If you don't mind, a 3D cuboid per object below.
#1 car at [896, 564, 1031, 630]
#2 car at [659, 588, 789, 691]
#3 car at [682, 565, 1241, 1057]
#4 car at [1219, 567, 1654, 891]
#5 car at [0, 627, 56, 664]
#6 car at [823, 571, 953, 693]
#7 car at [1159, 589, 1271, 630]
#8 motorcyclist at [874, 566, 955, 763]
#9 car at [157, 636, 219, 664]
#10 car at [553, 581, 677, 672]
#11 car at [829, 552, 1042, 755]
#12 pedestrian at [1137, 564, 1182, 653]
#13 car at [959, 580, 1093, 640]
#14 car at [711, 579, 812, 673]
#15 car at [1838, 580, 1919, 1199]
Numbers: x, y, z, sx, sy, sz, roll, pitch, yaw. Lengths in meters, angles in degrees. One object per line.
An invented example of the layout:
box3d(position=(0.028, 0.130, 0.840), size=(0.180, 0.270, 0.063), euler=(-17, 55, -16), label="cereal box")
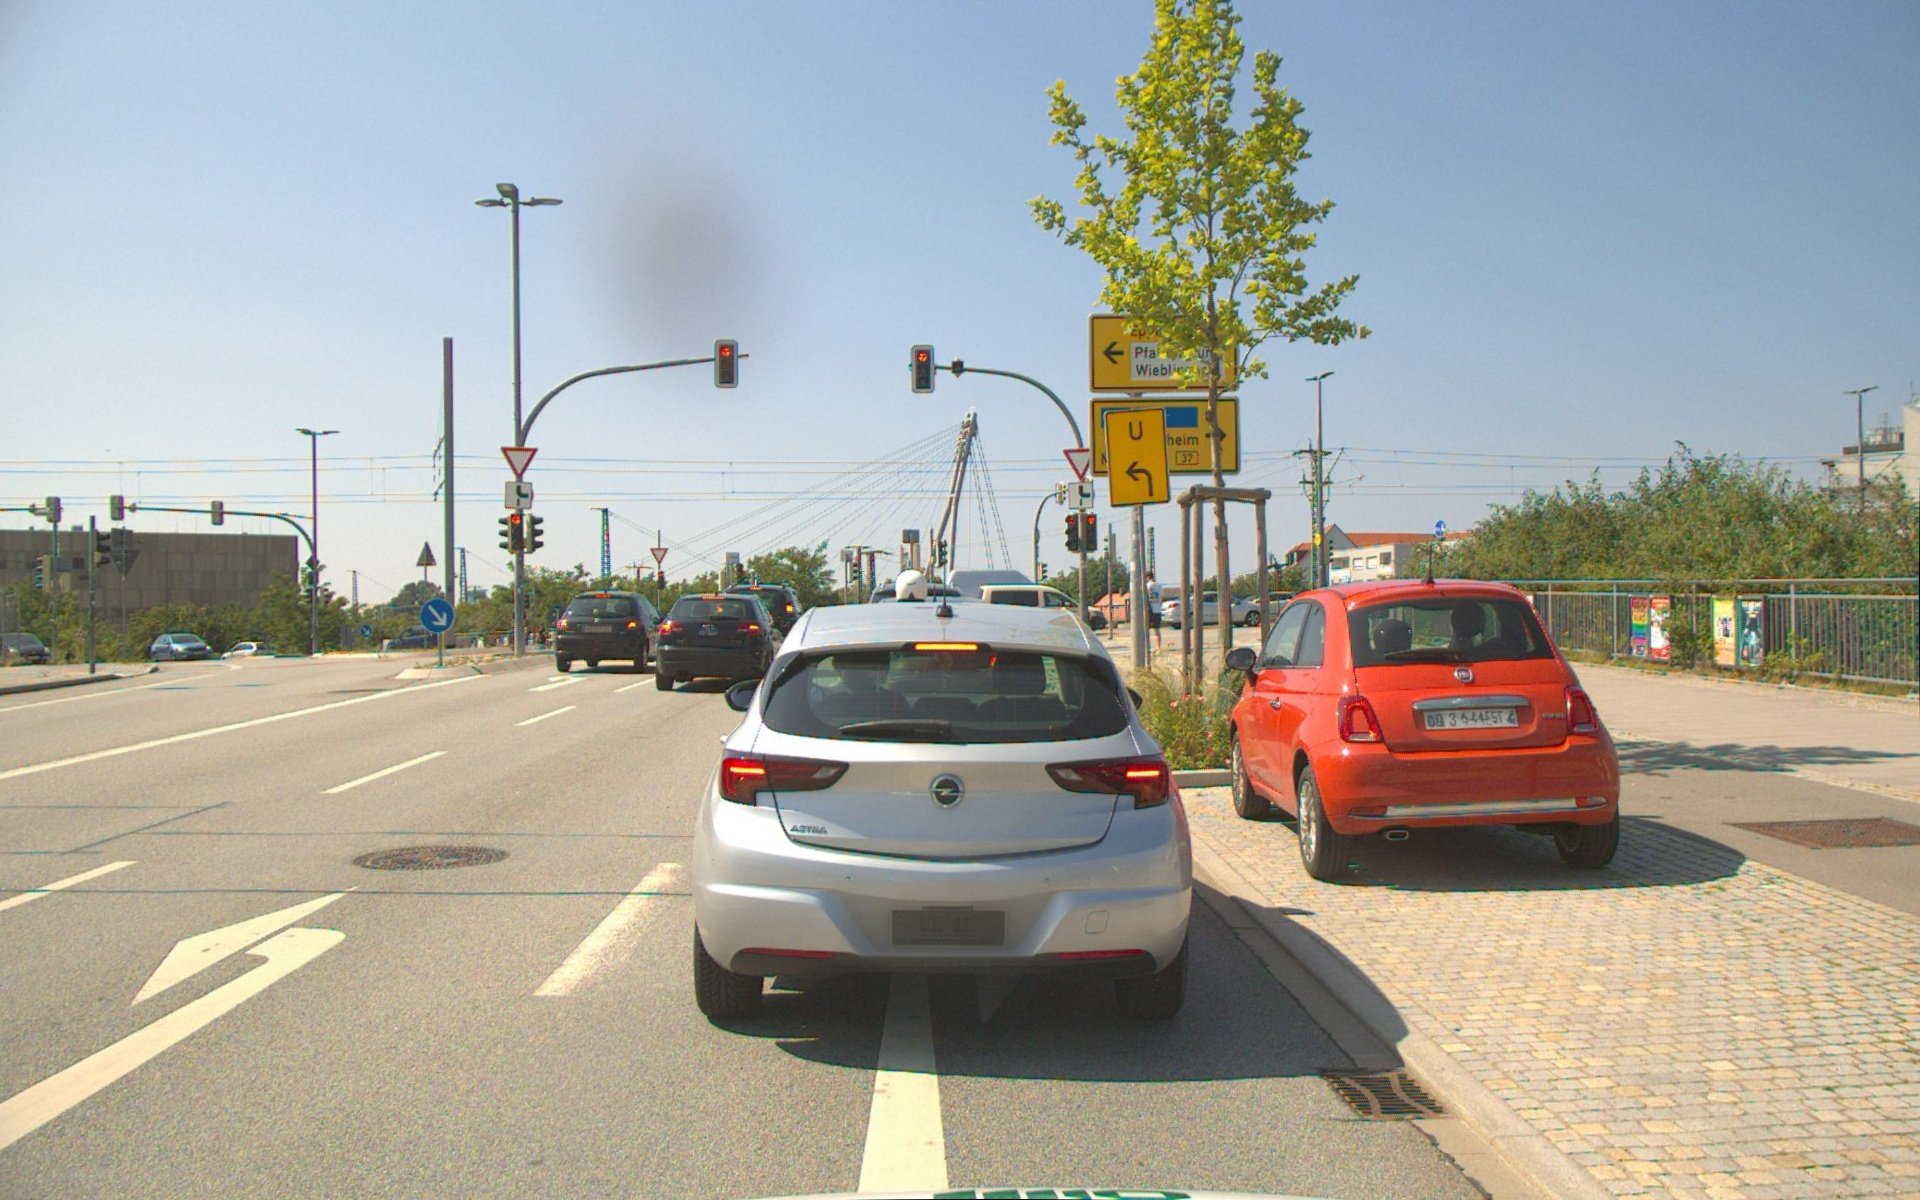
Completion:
box3d(position=(0.120, -0.099, 62.603), size=(4.906, 2.418, 1.780), euler=(0, -1, -9), label="car")
box3d(position=(-3.577, 0.574, 25.575), size=(1.543, 1.459, 3.785), euler=(1, 0, -2), label="car")
box3d(position=(-0.096, 0.665, 7.107), size=(1.708, 1.503, 3.997), euler=(1, 0, -3), label="car")
box3d(position=(2.596, 0.620, 9.775), size=(1.577, 1.522, 3.352), euler=(-2, 0, 0), label="car")
box3d(position=(-41.281, 2.011, 73.198), size=(1.662, 1.502, 3.358), euler=(-1, 1, -39), label="car")
box3d(position=(-0.976, 0.398, 23.937), size=(1.689, 1.591, 4.000), euler=(1, 1, -1), label="car")
box3d(position=(9.983, 0.369, 64.927), size=(3.914, 1.508, 1.996), euler=(1, 0, -10), label="car")
box3d(position=(-0.334, 0.467, 12.317), size=(0.570, 1.413, 0.706), euler=(1, -1, -1), label="motorcyclist")
box3d(position=(-38.040, 2.438, 81.453), size=(1.806, 1.354, 3.941), euler=(1, -2, -40), label="car")
box3d(position=(-6.388, 0.472, 30.968), size=(1.565, 1.574, 3.761), euler=(1, 0, -1), label="car")
box3d(position=(-0.257, 0.469, 17.550), size=(1.953, 1.852, 4.401), euler=(1, 1, -1), label="car")
box3d(position=(4.276, 0.180, 35.438), size=(0.636, 1.868, 0.794), euler=(-1, -1, 37), label="pedestrian")
box3d(position=(2.357, 0.354, 59.879), size=(4.611, 2.049, 1.998), euler=(1, 0, -6), label="car")
box3d(position=(-3.727, 0.476, 31.521), size=(1.616, 1.643, 3.818), euler=(1, 0, -3), label="car")
box3d(position=(2.931, 0.643, 1.897), size=(1.627, 1.451, 3.999), euler=(-2, 0, -1), label="car")
